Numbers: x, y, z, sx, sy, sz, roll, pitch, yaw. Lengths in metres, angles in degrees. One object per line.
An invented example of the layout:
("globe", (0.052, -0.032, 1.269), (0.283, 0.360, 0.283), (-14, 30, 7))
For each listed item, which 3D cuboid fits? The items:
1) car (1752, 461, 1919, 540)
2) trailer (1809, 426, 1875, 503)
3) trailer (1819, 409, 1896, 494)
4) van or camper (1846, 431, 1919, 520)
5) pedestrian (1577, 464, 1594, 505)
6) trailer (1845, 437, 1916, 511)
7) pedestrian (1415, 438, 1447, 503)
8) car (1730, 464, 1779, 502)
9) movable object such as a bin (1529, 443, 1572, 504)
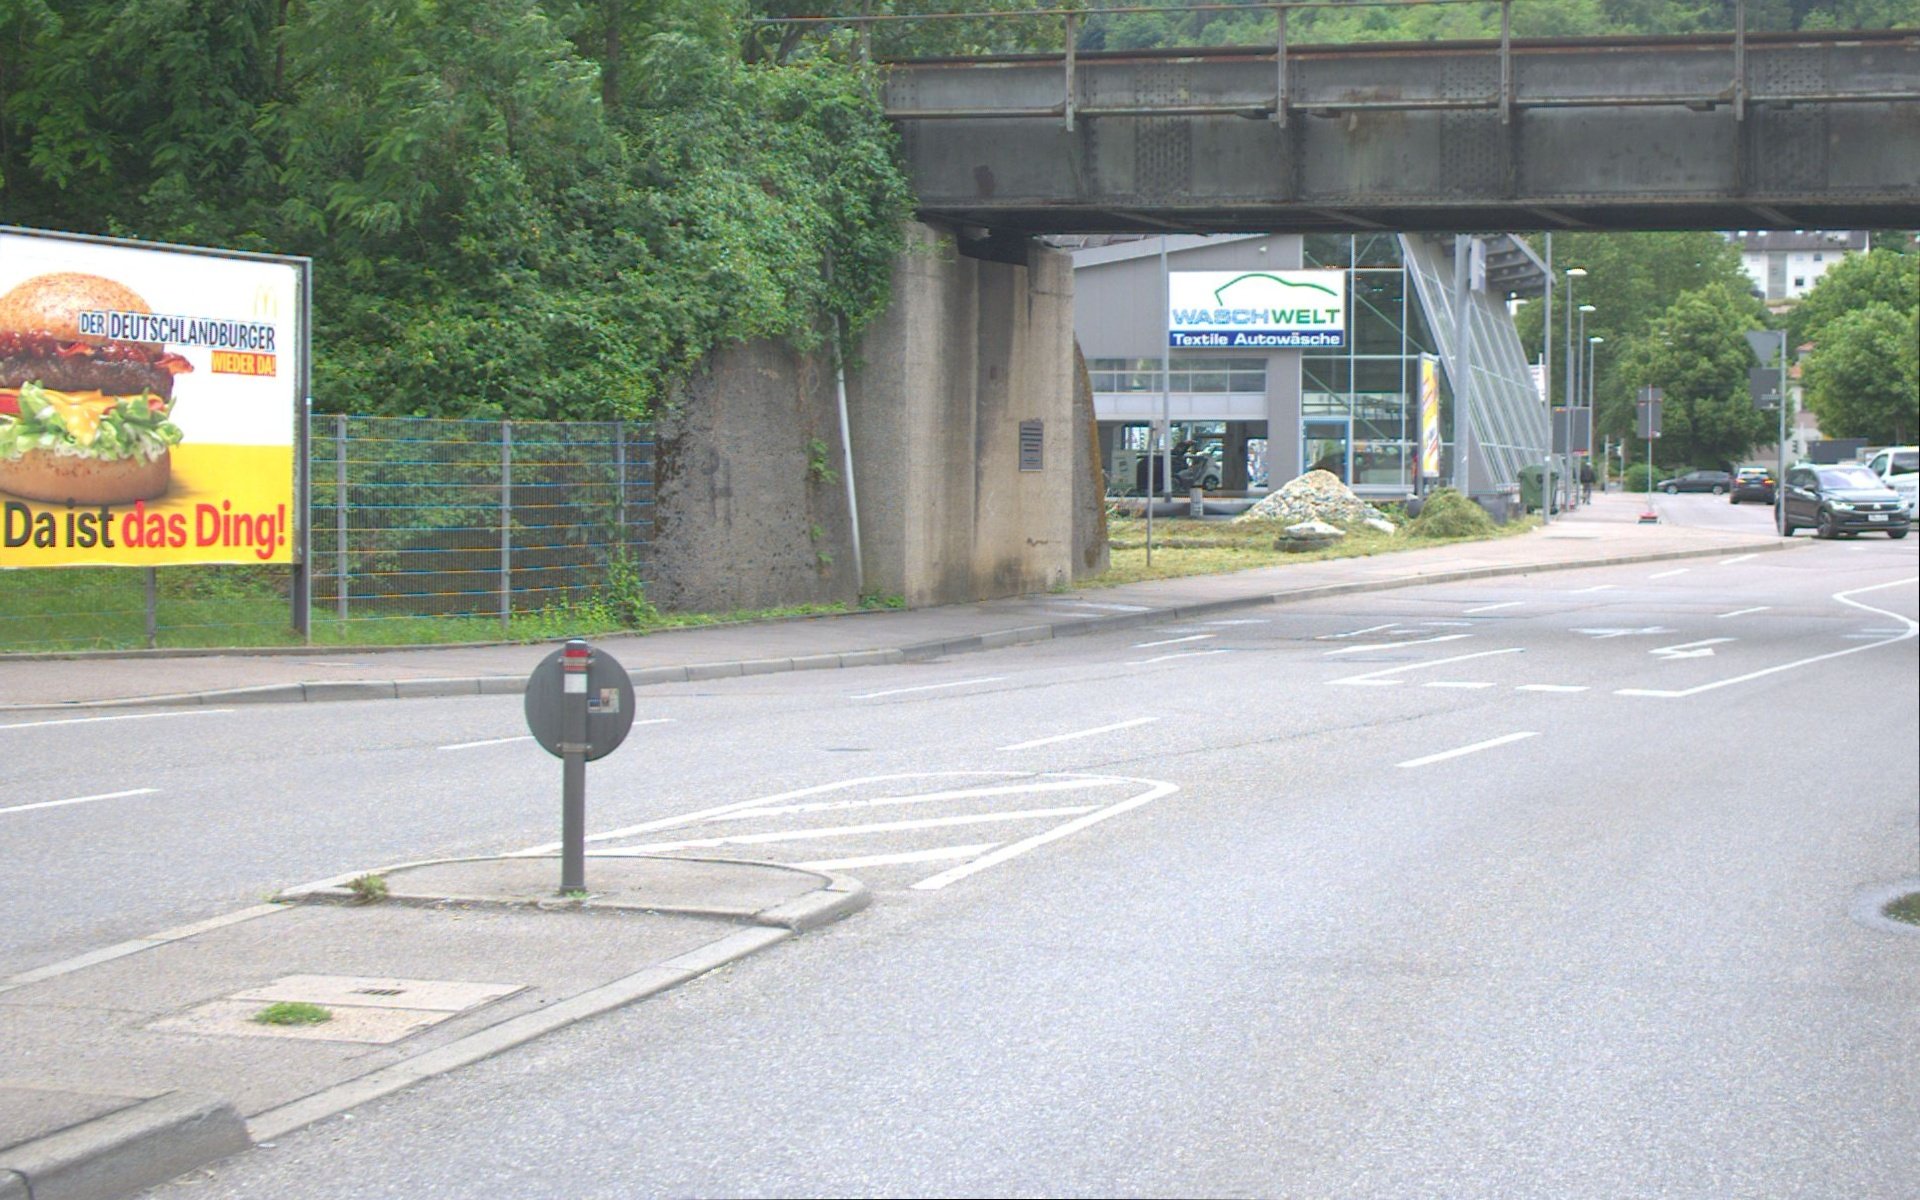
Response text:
("car", (19.392, -2.208, 76.348), (1.993, 1.678, 4.373), (0, 2, -9))
("trailer", (34.551, -5.320, 134.757), (2.280, 2.942, 3.998), (2, 3, 12))
("trailer", (40.668, -6.750, 155.868), (3.070, 3.746, 4.932), (2, 3, 12))
("van or camper", (23.089, -2.933, 81.131), (2.098, 2.076, 4.207), (0, 2, -22))
("pedestrian", (25.682, -4.739, 141.156), (0.627, 1.667, 0.758), (1, 2, 9))
("trailer", (30.154, -4.159, 112.702), (1.995, 2.335, 3.998), (2, 3, 12))
("pedestrian", (13.509, -3.719, 98.612), (0.826, 1.861, 0.718), (0, 2, 1))
("car", (35.879, -5.287, 155.152), (1.995, 1.678, 3.998), (1, 2, 15))
("movable object such as a bin", (17.232, -3.680, 100.313), (1.143, 1.751, 1.058), (1, 2, 15))
